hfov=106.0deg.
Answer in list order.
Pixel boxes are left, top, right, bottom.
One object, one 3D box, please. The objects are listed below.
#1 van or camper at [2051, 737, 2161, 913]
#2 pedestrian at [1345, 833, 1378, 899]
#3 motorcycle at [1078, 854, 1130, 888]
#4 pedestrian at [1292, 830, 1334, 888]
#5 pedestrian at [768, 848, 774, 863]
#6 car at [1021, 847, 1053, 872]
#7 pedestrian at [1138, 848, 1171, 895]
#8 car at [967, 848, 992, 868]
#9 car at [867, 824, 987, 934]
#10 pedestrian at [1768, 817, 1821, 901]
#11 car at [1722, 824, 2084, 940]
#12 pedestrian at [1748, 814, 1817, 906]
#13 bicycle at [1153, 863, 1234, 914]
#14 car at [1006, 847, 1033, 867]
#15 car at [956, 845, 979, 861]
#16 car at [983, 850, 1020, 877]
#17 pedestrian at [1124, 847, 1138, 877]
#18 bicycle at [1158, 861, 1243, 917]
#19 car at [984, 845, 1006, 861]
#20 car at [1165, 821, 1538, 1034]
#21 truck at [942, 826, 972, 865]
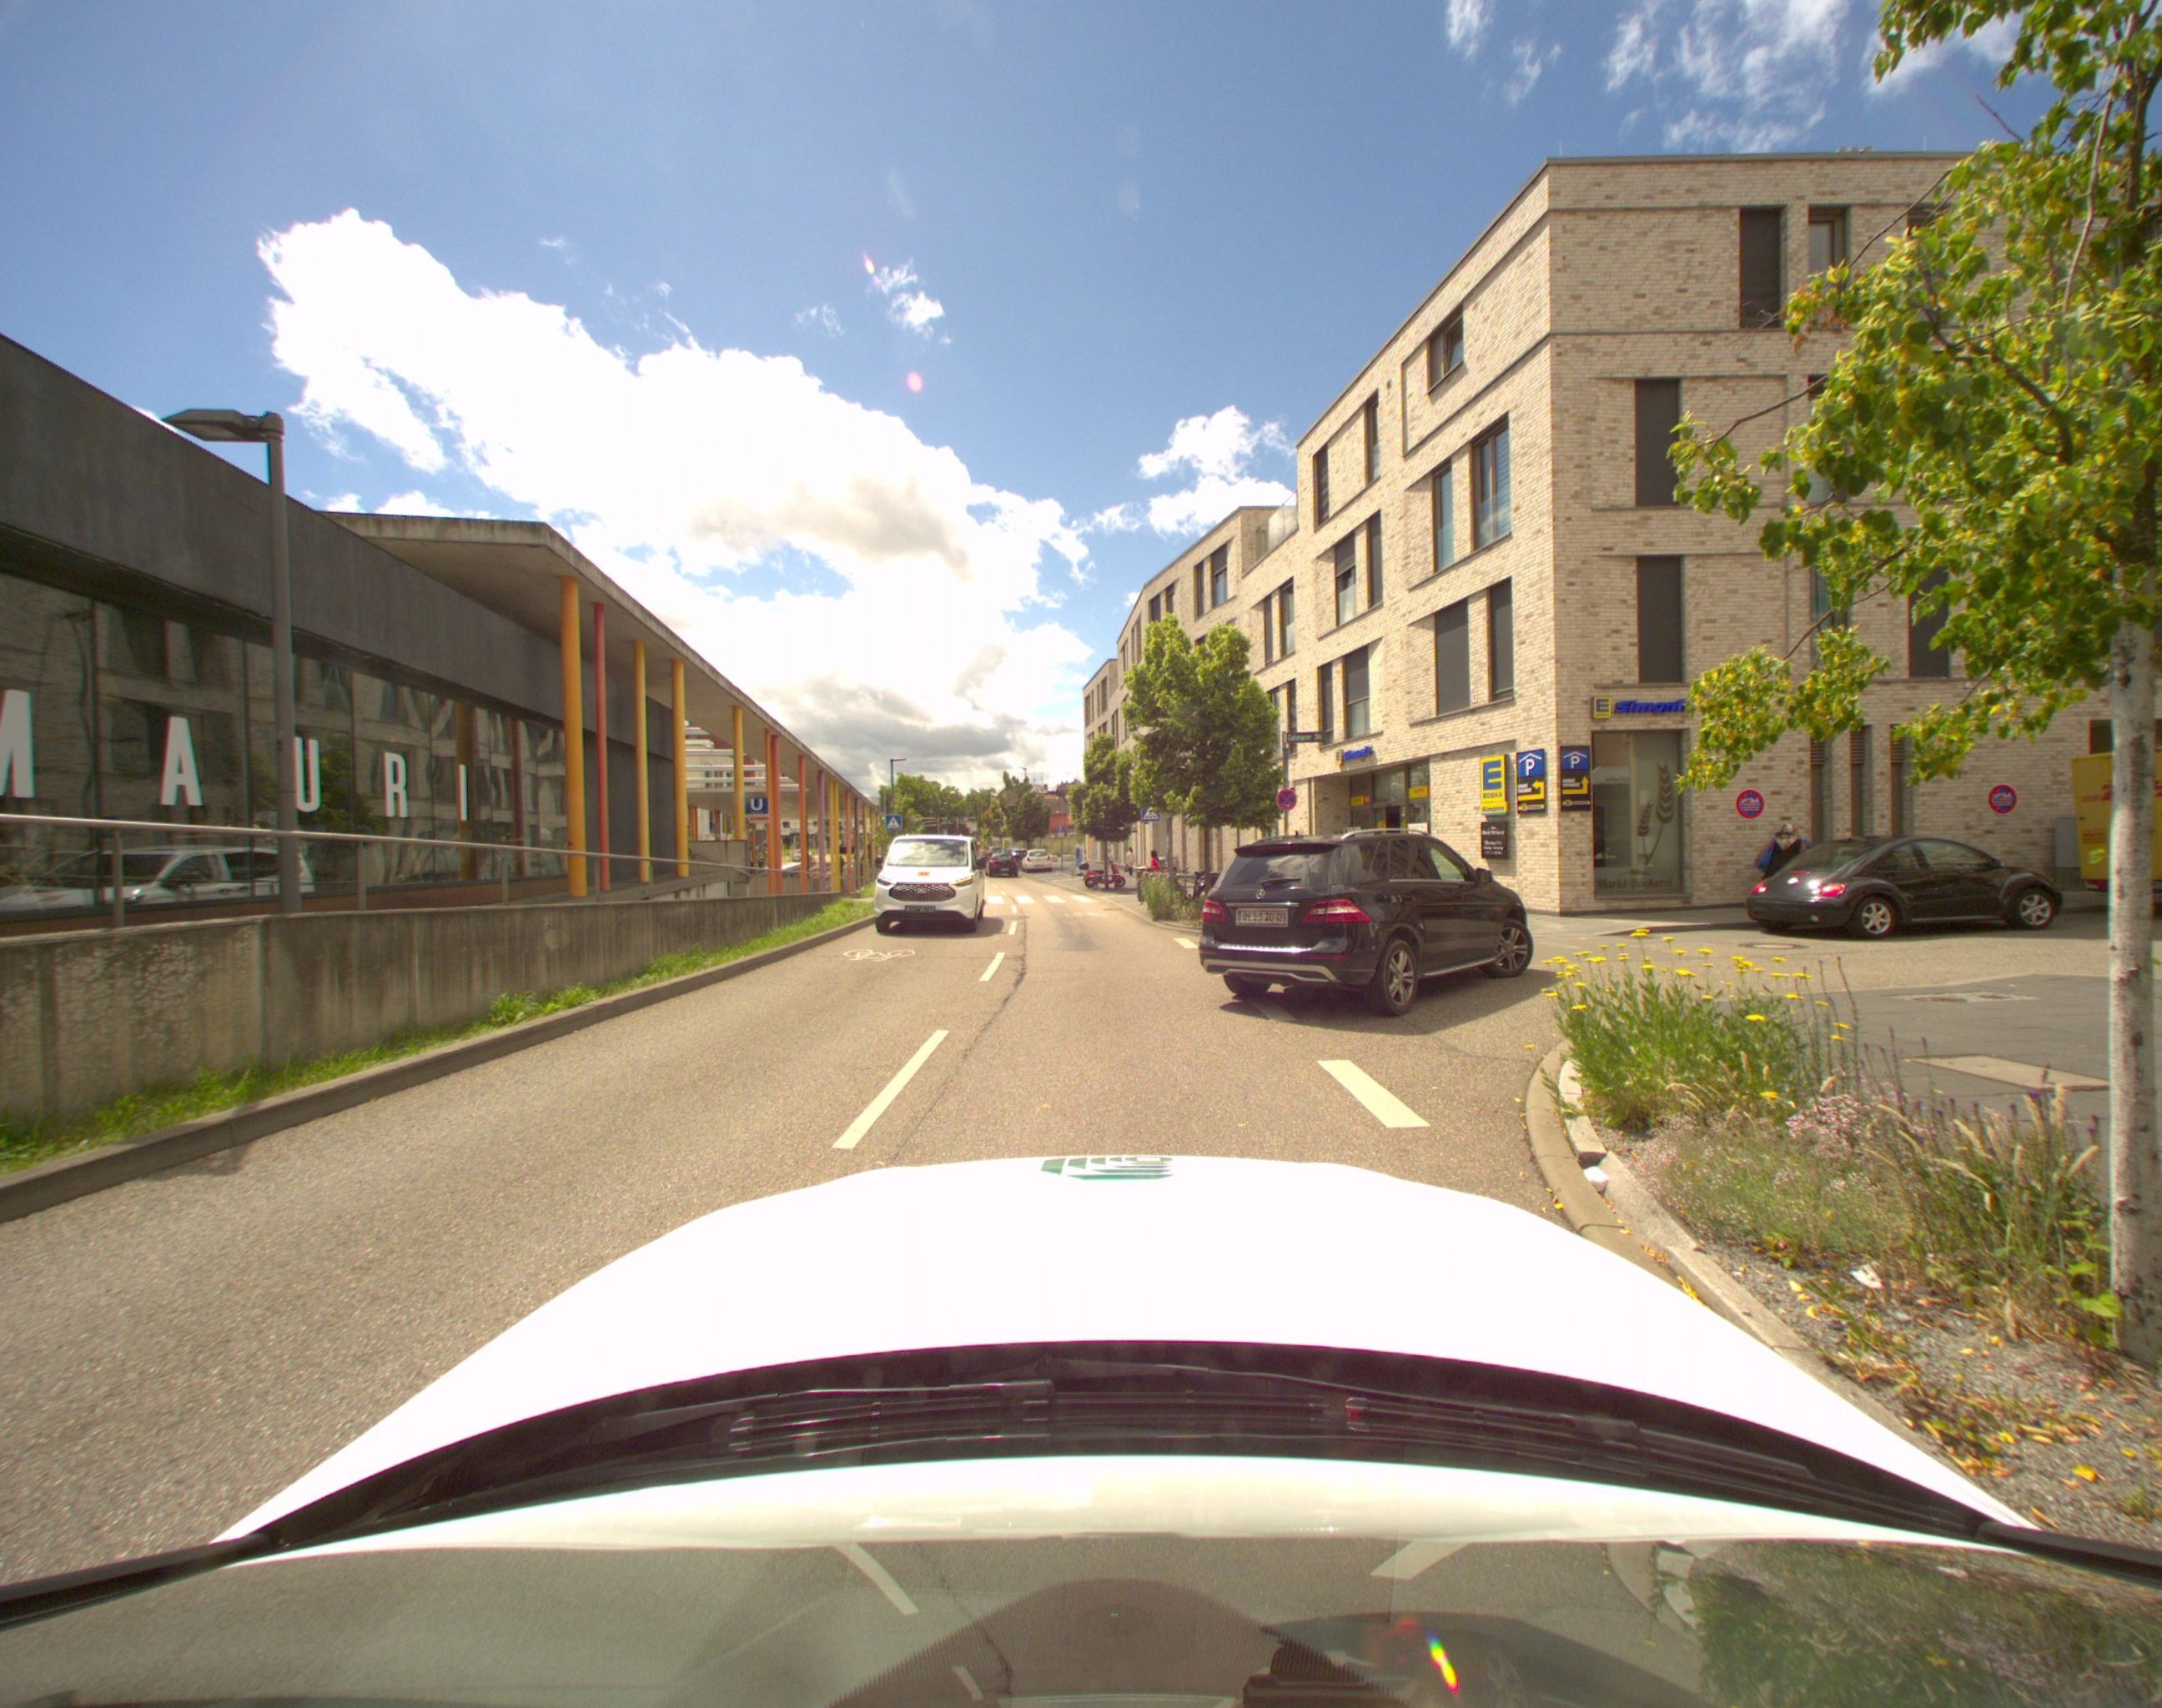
[{"bbox_3d":[20.247,-0.652,12.969,6.835,2.736,2.276,-3,-1,-1],"label":"van or camper"},{"bbox_3d":[7.298,0.313,21.163,0.651,1.692,0.635,-2,0,30],"label":"pedestrian"},{"bbox_3d":[0.950,0.698,33.979,2.039,1.266,0.674,-3,0,6],"label":"motorcycle"},{"bbox_3d":[7.090,0.144,24.926,1.016,1.741,0.656,-2,0,-14],"label":"pedestrian"},{"bbox_3d":[-38.417,0.161,101.003,0.642,1.808,0.591,0,-1,-11],"label":"pedestrian"},{"bbox_3d":[-3.003,0.347,54.466,1.692,1.483,3.786,-3,1,-9],"label":"car"},{"bbox_3d":[2.482,0.583,27.571,0.928,1.565,0.811,0,-1,-13],"label":"pedestrian"},{"bbox_3d":[-7.862,0.282,62.898,1.712,1.393,3.796,-2,2,-10],"label":"car"},{"bbox_3d":[-3.134,0.468,17.686,1.990,2.013,5.385,1,0,-5],"label":"car"},{"bbox_3d":[13.607,0.096,15.532,0.524,1.573,0.597,1,-2,-31],"label":"pedestrian"},{"bbox_3d":[12.576,0.390,12.637,3.884,1.477,1.782,-3,0,-2],"label":"car"},{"bbox_3d":[13.070,0.119,15.183,0.557,1.671,0.808,1,-2,-31],"label":"pedestrian"},{"bbox_3d":[2.769,0.840,20.178,1.819,1.131,0.755,-3,0,-5],"label":"bicycle"},{"bbox_3d":[-4.838,0.210,63.656,1.692,1.461,4.133,-3,1,-9],"label":"car"},{"bbox_3d":[-11.275,-0.087,80.650,1.890,1.465,4.051,-2,0,-13],"label":"car"},{"bbox_3d":[-4.823,0.536,48.911,1.728,1.456,3.792,-2,2,-13],"label":"car"},{"bbox_3d":[2.590,0.408,42.433,0.606,1.472,0.790,-3,1,-3],"label":"pedestrian"},{"bbox_3d":[2.822,0.813,19.350,1.819,1.201,0.755,-3,0,-5],"label":"bicycle"},{"bbox_3d":[-8.941,-0.142,84.377,1.784,1.451,4.457,-3,1,-12],"label":"car"},{"bbox_3d":[3.241,0.593,9.199,4.558,1.746,1.976,-3,0,-43],"label":"car"},{"bbox_3d":[-15.016,-0.942,97.817,3.205,4.536,8.993,0,-1,-11],"label":"truck"}]
